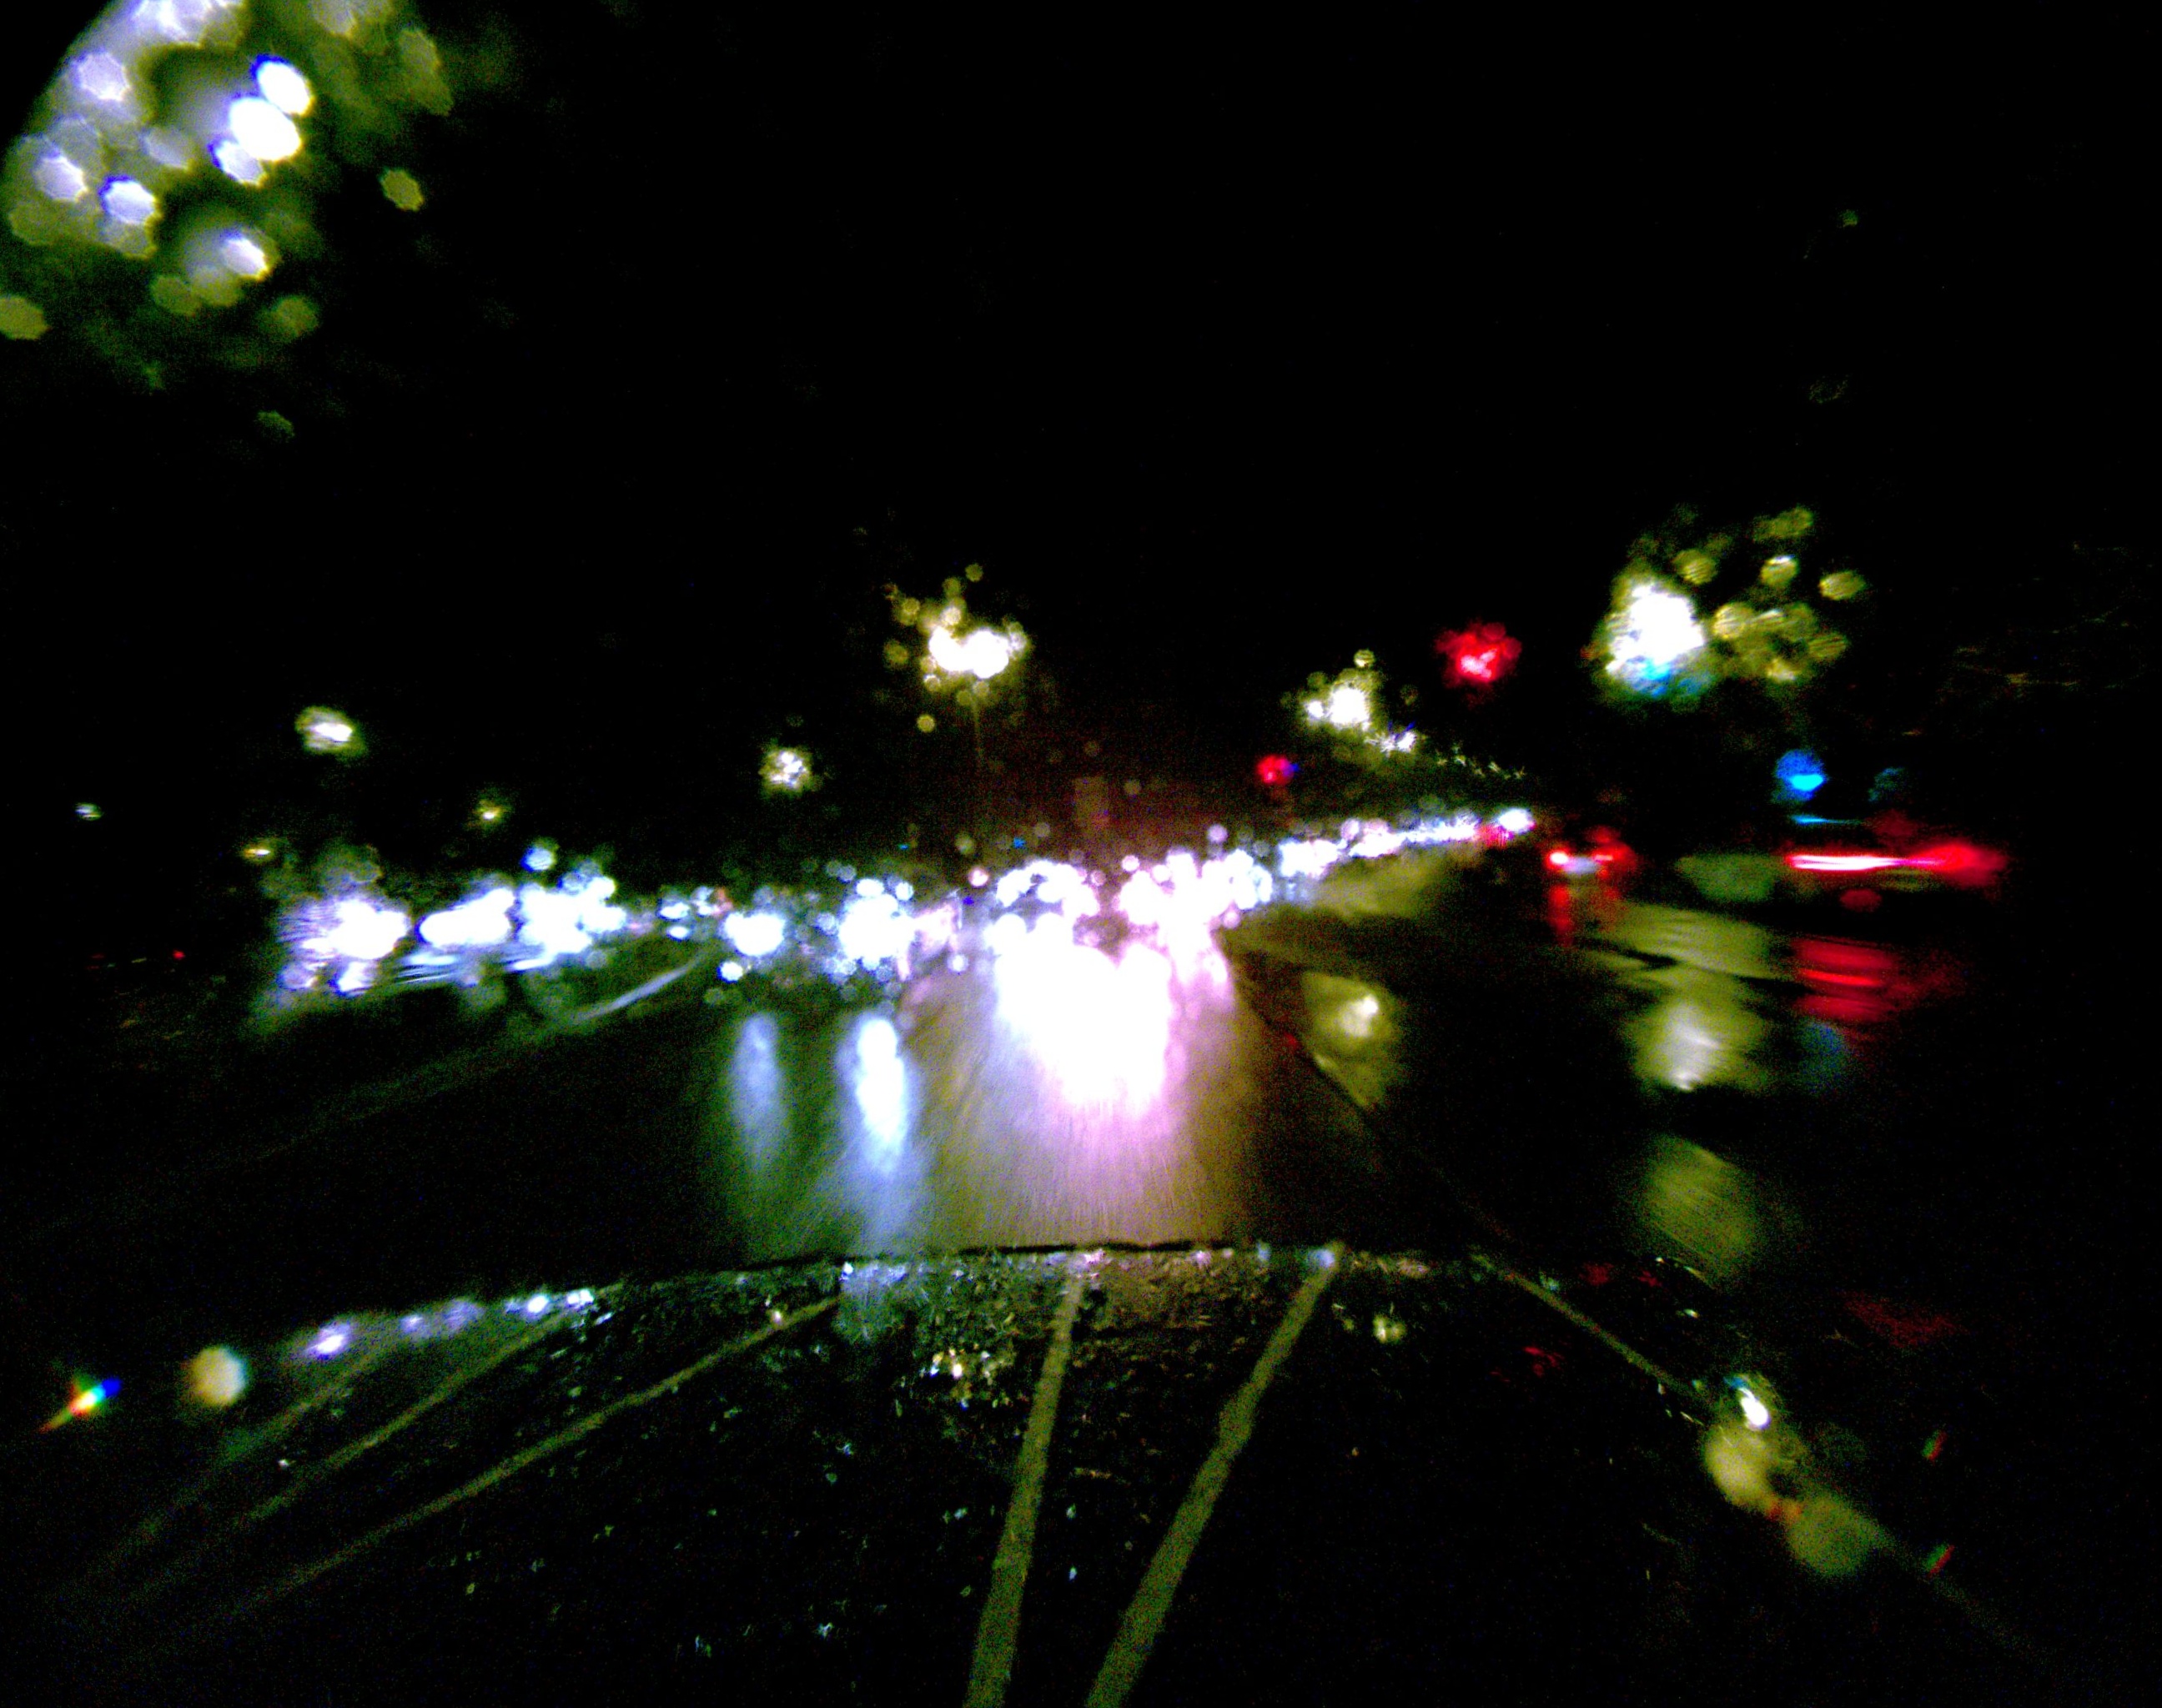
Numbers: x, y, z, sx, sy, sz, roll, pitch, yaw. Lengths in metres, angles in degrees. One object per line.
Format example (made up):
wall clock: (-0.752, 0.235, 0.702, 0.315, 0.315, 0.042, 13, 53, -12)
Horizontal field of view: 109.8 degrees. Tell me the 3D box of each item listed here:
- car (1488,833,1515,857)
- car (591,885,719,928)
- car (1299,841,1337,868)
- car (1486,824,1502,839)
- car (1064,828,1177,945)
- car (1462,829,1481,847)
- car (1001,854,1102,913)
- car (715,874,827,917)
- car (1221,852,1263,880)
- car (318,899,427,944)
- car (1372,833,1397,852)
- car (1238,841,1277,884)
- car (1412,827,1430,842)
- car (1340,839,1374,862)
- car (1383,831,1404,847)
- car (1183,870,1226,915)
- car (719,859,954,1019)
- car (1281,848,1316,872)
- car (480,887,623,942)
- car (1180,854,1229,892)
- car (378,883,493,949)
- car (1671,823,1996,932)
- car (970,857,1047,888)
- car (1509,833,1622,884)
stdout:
car: (38.779, -0.824, 70.049, 1.995, 2.002, 4.007, -3, 0, 30)
car: (-16.171, 1.953, 28.827, 4.534, 1.400, 2.003, -2, 1, 27)
car: (19.334, 0.029, 61.939, 1.995, 2.002, 4.007, -3, 0, 31)
car: (54.032, -2.900, 99.415, 1.739, 1.845, 4.007, -3, 0, 30)
car: (0.987, 0.562, 16.377, 1.997, 2.003, 4.000, -3, 3, 8)
car: (44.165, -1.807, 85.901, 1.739, 1.845, 4.007, -3, 0, 30)
car: (-0.814, 0.861, 24.151, 2.044, 1.610, 4.292, -3, 0, 14)
car: (-12.959, 1.718, 31.772, 4.108, 1.630, 2.003, -2, 1, 25)
car: (12.550, 0.890, 58.969, 1.832, 2.002, 4.007, -3, 0, 32)
car: (-30.292, 2.880, 32.491, 4.336, 1.630, 2.003, -4, 0, 28)
car: (32.936, -1.248, 82.358, 1.865, 2.002, 4.007, -3, 0, 30)
car: (10.879, 0.477, 46.648, 1.997, 2.003, 4.001, -7, 4, 15)
car: (49.292, -2.833, 110.169, 1.865, 2.002, 4.007, -3, 0, 31)
car: (26.446, -0.322, 72.766, 1.865, 2.002, 4.008, -3, 0, 36)
car: (41.712, -2.056, 101.368, 1.865, 2.002, 4.007, -3, 0, 31)
car: (5.232, 1.595, 32.080, 1.303, 1.520, 3.048, -5, 2, 16)
car: (-3.069, 0.957, 10.558, 1.928, 1.704, 4.238, -1, 0, -1)
car: (20.092, 0.538, 70.219, 1.995, 2.002, 4.007, -3, 0, 32)
car: (-18.278, 2.037, 26.207, 4.770, 1.630, 2.003, -2, 1, 27)
car: (7.773, 1.145, 47.572, 1.866, 2.002, 4.005, -3, 2, 25)
car: (-24.655, 2.367, 29.019, 3.991, 2.003, 1.765, -6, 4, 28)
car: (13.025, 0.357, 13.712, 1.988, 1.595, 4.839, -1, 0, 14)
car: (-4.506, 1.121, 46.961, 4.266, 1.688, 1.997, -3, 0, -23)
car: (16.850, 0.159, 26.726, 1.988, 1.595, 4.839, -1, 0, 15)
